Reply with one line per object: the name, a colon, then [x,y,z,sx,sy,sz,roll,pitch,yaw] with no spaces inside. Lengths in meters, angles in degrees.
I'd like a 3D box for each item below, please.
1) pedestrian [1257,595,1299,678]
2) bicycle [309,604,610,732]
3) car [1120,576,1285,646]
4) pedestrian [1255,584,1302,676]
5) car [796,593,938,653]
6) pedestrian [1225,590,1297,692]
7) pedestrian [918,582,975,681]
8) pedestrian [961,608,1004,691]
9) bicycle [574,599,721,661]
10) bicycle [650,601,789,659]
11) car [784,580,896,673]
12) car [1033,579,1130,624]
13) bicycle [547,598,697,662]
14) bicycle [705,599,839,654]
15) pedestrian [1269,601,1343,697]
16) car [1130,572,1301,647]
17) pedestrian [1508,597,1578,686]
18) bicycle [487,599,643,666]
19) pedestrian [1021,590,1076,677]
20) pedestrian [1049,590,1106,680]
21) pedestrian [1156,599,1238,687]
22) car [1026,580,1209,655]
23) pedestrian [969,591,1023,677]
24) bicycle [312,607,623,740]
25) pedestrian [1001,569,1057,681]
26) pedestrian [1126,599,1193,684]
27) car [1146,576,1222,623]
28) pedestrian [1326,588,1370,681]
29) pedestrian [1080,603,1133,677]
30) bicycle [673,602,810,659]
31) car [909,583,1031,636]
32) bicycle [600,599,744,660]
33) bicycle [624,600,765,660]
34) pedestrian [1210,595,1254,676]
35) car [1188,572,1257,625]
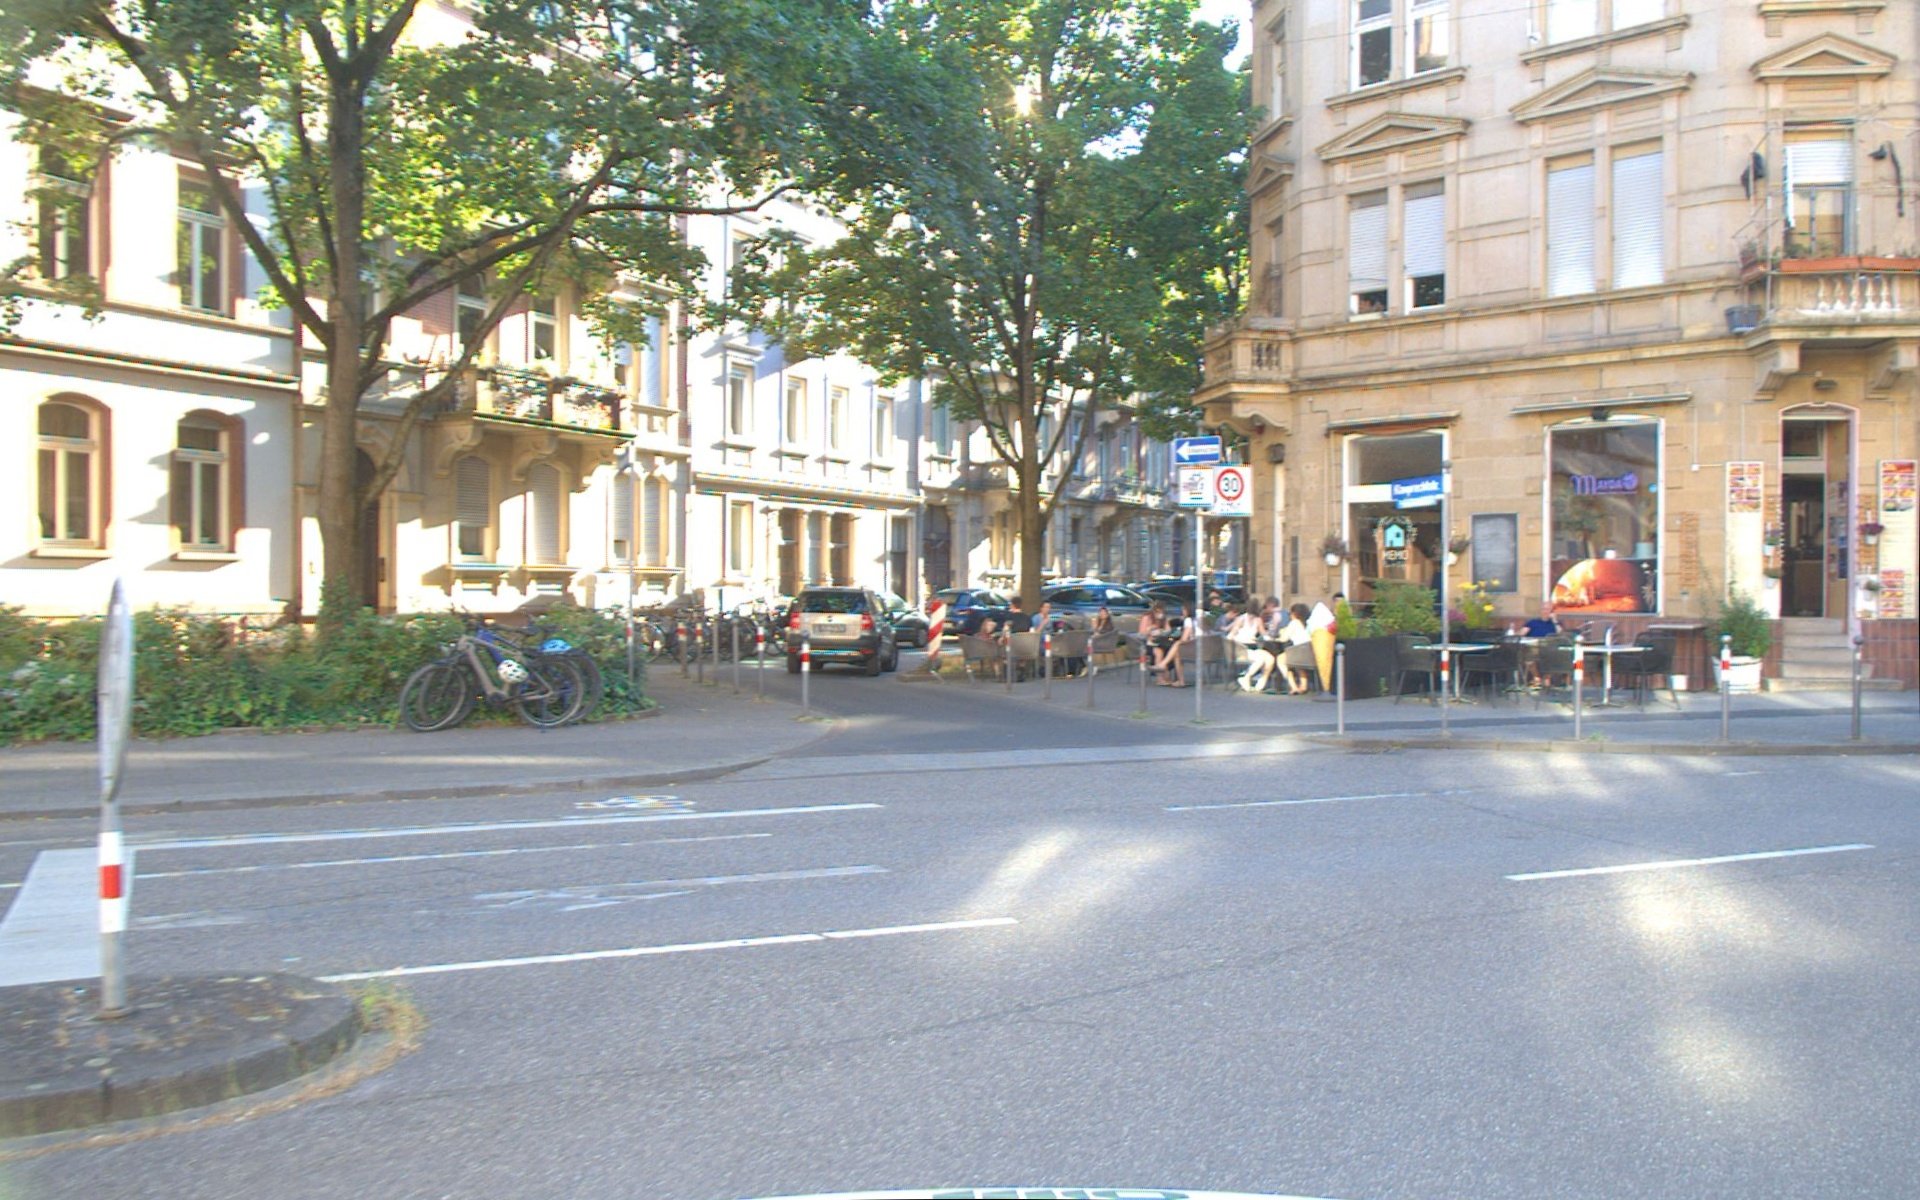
pedestrian: [4.963,0.565,25.828,0.428,1.270,0.477,-1,1,-31]
bicycle: [-5.075,0.657,16.887,2.911,1.217,0.543,0,0,-25]
car: [6.069,0.267,41.800,3.905,1.713,2.000,0,0,0]
pedestrian: [5.145,0.476,26.687,0.477,1.456,0.561,-1,1,-40]
car: [-2.248,0.522,40.855,1.886,1.400,3.748,0,0,27]
pedestrian: [4.334,0.571,23.792,0.721,1.435,0.745,0,0,-41]
pedestrian: [-0.240,0.543,29.068,0.757,1.699,0.661,-1,-1,-31]
pedestrian: [0.372,0.810,27.471,0.561,1.343,0.502,-1,1,-18]
bicycle: [-6.256,0.577,33.019,3.066,1.201,0.751,0,0,27]
bicycle: [-5.134,0.623,35.236,3.066,1.201,0.751,0,0,27]
car: [-2.422,0.470,32.420,1.956,1.713,3.993,0,0,-8]
car: [3.987,0.031,53.796,1.886,1.400,3.748,0,0,27]
bicycle: [-6.616,0.565,32.317,3.066,1.201,0.751,0,0,27]
bicycle: [-4.221,0.571,37.002,3.066,1.201,0.751,0,0,27]
pedestrian: [4.844,0.667,23.165,0.735,1.312,0.735,0,0,-39]
car: [6.040,0.215,39.085,3.902,1.713,2.002,0,0,10]
pedestrian: [8.300,0.575,23.538,0.715,1.235,0.752,0,0,42]
bicycle: [-7.365,0.577,30.797,3.066,1.201,0.751,0,0,27]
pedestrian: [1.525,0.577,28.488,0.752,1.467,0.665,-1,-1,-17]
pedestrian: [1.949,0.573,27.484,0.752,1.467,0.665,-1,-1,-17]
pedestrian: [3.549,0.622,24.783,0.739,1.270,1.014,-1,1,-31]
car: [3.418,0.355,36.233,3.748,1.589,1.802,0,0,-5]
pedestrian: [0.608,0.579,28.439,0.752,1.437,0.665,-1,-1,-15]
bicycle: [-4.830,0.693,16.349,2.911,1.217,0.543,0,0,-25]
pedestrian: [1.136,0.400,27.175,0.752,1.801,0.569,-1,-1,-17]
pedestrian: [3.080,0.625,25.552,0.739,1.270,0.699,-1,1,-31]
car: [8.559,-0.023,62.977,1.772,1.713,3.748,0,0,27]
pedestrian: [5.887,0.511,25.123,0.429,1.391,0.476,-1,1,-37]
pedestrian: [2.495,0.680,28.230,0.665,1.237,0.664,-1,-1,-18]
bicycle: [-4.768,0.639,35.998,3.066,1.201,0.751,0,0,27]
car: [0.321,0.234,45.427,1.886,1.400,3.748,0,0,27]
bicycle: [-5.898,0.592,33.769,3.066,1.201,0.751,0,0,27]
bicycle: [-5.552,0.607,34.503,3.066,1.201,0.751,0,0,27]
pedestrian: [4.366,0.566,26.564,0.504,1.270,0.477,-1,1,-31]
car: [10.792,-0.080,67.770,1.772,2.121,3.748,0,0,27]
